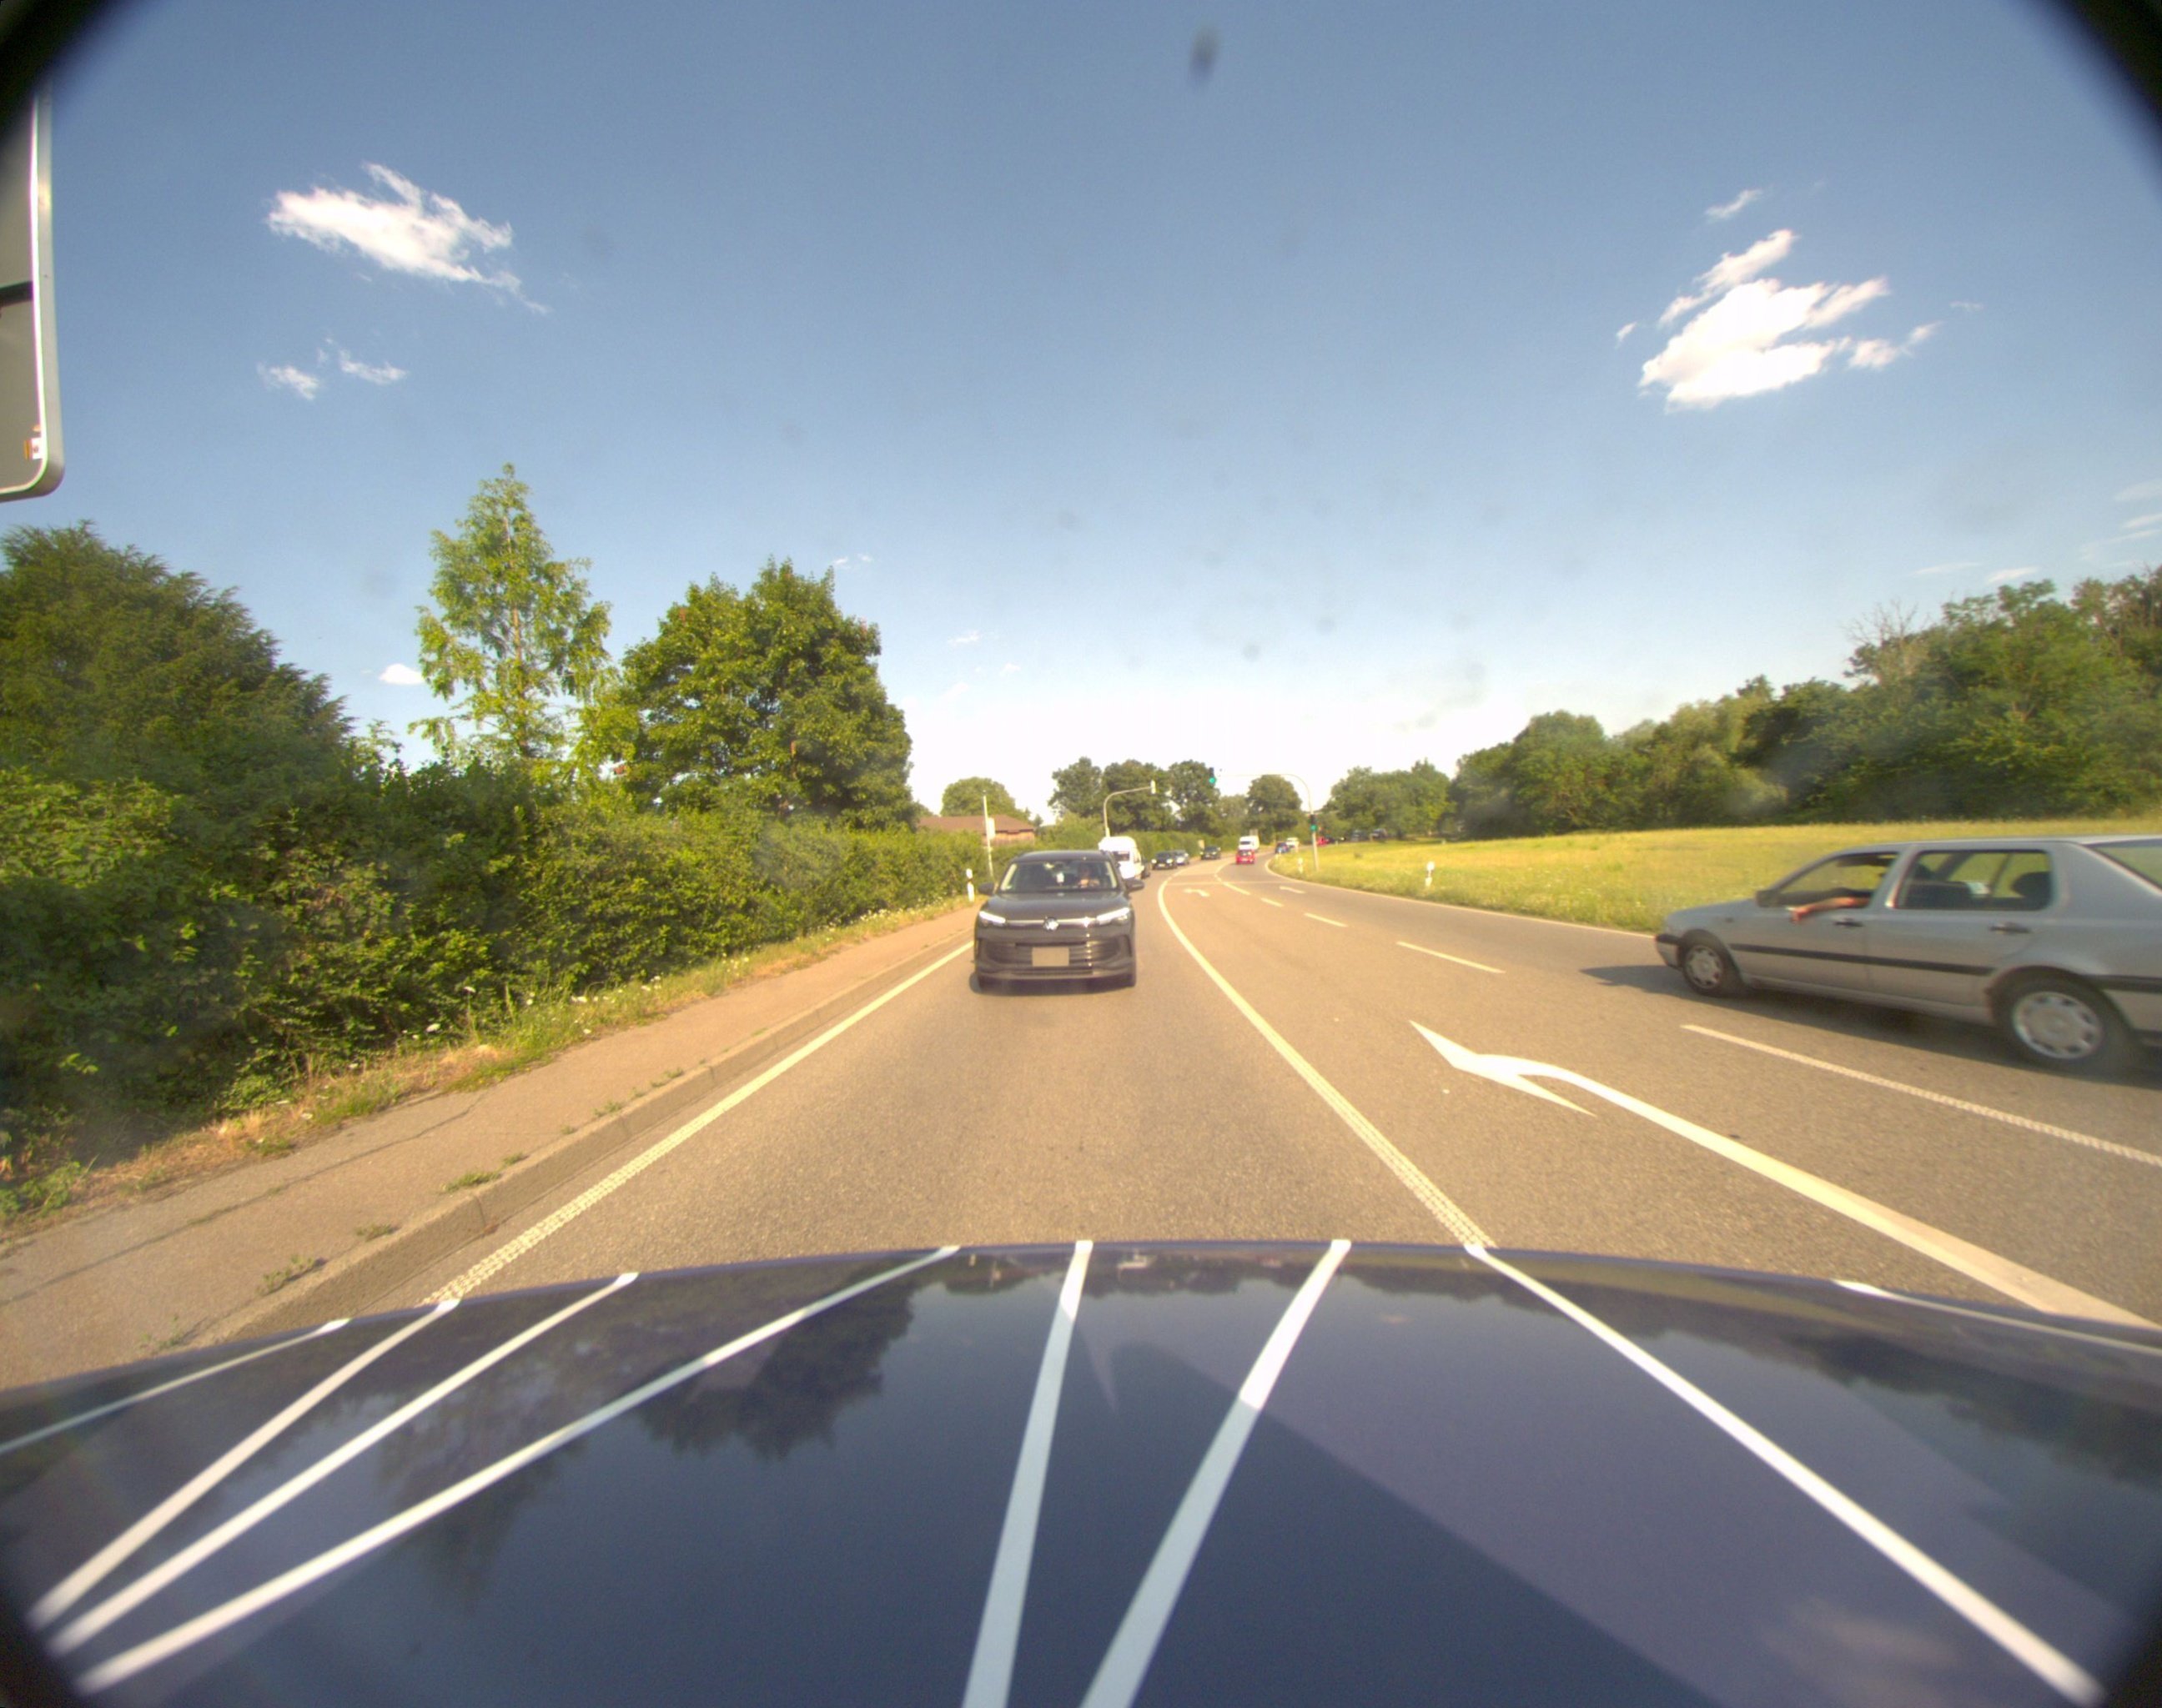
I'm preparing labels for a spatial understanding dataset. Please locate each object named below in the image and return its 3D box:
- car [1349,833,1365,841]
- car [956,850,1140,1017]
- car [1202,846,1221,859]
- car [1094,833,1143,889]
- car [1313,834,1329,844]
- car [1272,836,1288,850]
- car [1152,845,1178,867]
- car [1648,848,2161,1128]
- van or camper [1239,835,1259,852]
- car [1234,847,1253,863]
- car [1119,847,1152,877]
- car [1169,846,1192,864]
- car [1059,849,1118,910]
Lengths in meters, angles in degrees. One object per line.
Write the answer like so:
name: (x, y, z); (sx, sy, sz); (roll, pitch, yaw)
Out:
car: (60.951, -3.786, 167.625); (1.881, 1.577, 4.339); (-1, 0, 41)
car: (-0.300, 0.822, 9.877); (1.865, 1.633, 4.000); (-1, 1, 1)
car: (15.207, -0.179, 88.629); (1.605, 1.471, 3.621); (0, 1, 19)
car: (1.783, 0.282, 34.690); (1.843, 2.338, 4.791); (-1, 0, 7)
car: (44.984, -2.770, 142.509); (1.881, 1.765, 4.330); (-1, 0, 31)
car: (28.365, -1.562, 108.097); (1.726, 1.871, 4.342); (-1, 0, 21)
car: (6.854, 0.127, 61.623); (1.672, 1.718, 3.671); (0, 2, 12)
car: (6.522, 0.704, 5.446); (1.711, 1.420, 4.177); (-3, 0, -1)
van or camper: (25.629, -1.622, 116.082); (2.031, 2.461, 5.084); (-4, 0, 22)
car: (15.070, 0.075, 70.497); (1.588, 1.458, 3.610); (-1, 0, 12)
car: (3.346, 0.448, 46.454); (1.693, 1.718, 3.670); (-1, 1, 8)
car: (9.327, 0.064, 71.180); (1.633, 1.550, 3.420); (-1, 2, 15)
car: (0.305, 0.710, 23.645); (1.659, 1.720, 3.805); (-1, 0, 3)
